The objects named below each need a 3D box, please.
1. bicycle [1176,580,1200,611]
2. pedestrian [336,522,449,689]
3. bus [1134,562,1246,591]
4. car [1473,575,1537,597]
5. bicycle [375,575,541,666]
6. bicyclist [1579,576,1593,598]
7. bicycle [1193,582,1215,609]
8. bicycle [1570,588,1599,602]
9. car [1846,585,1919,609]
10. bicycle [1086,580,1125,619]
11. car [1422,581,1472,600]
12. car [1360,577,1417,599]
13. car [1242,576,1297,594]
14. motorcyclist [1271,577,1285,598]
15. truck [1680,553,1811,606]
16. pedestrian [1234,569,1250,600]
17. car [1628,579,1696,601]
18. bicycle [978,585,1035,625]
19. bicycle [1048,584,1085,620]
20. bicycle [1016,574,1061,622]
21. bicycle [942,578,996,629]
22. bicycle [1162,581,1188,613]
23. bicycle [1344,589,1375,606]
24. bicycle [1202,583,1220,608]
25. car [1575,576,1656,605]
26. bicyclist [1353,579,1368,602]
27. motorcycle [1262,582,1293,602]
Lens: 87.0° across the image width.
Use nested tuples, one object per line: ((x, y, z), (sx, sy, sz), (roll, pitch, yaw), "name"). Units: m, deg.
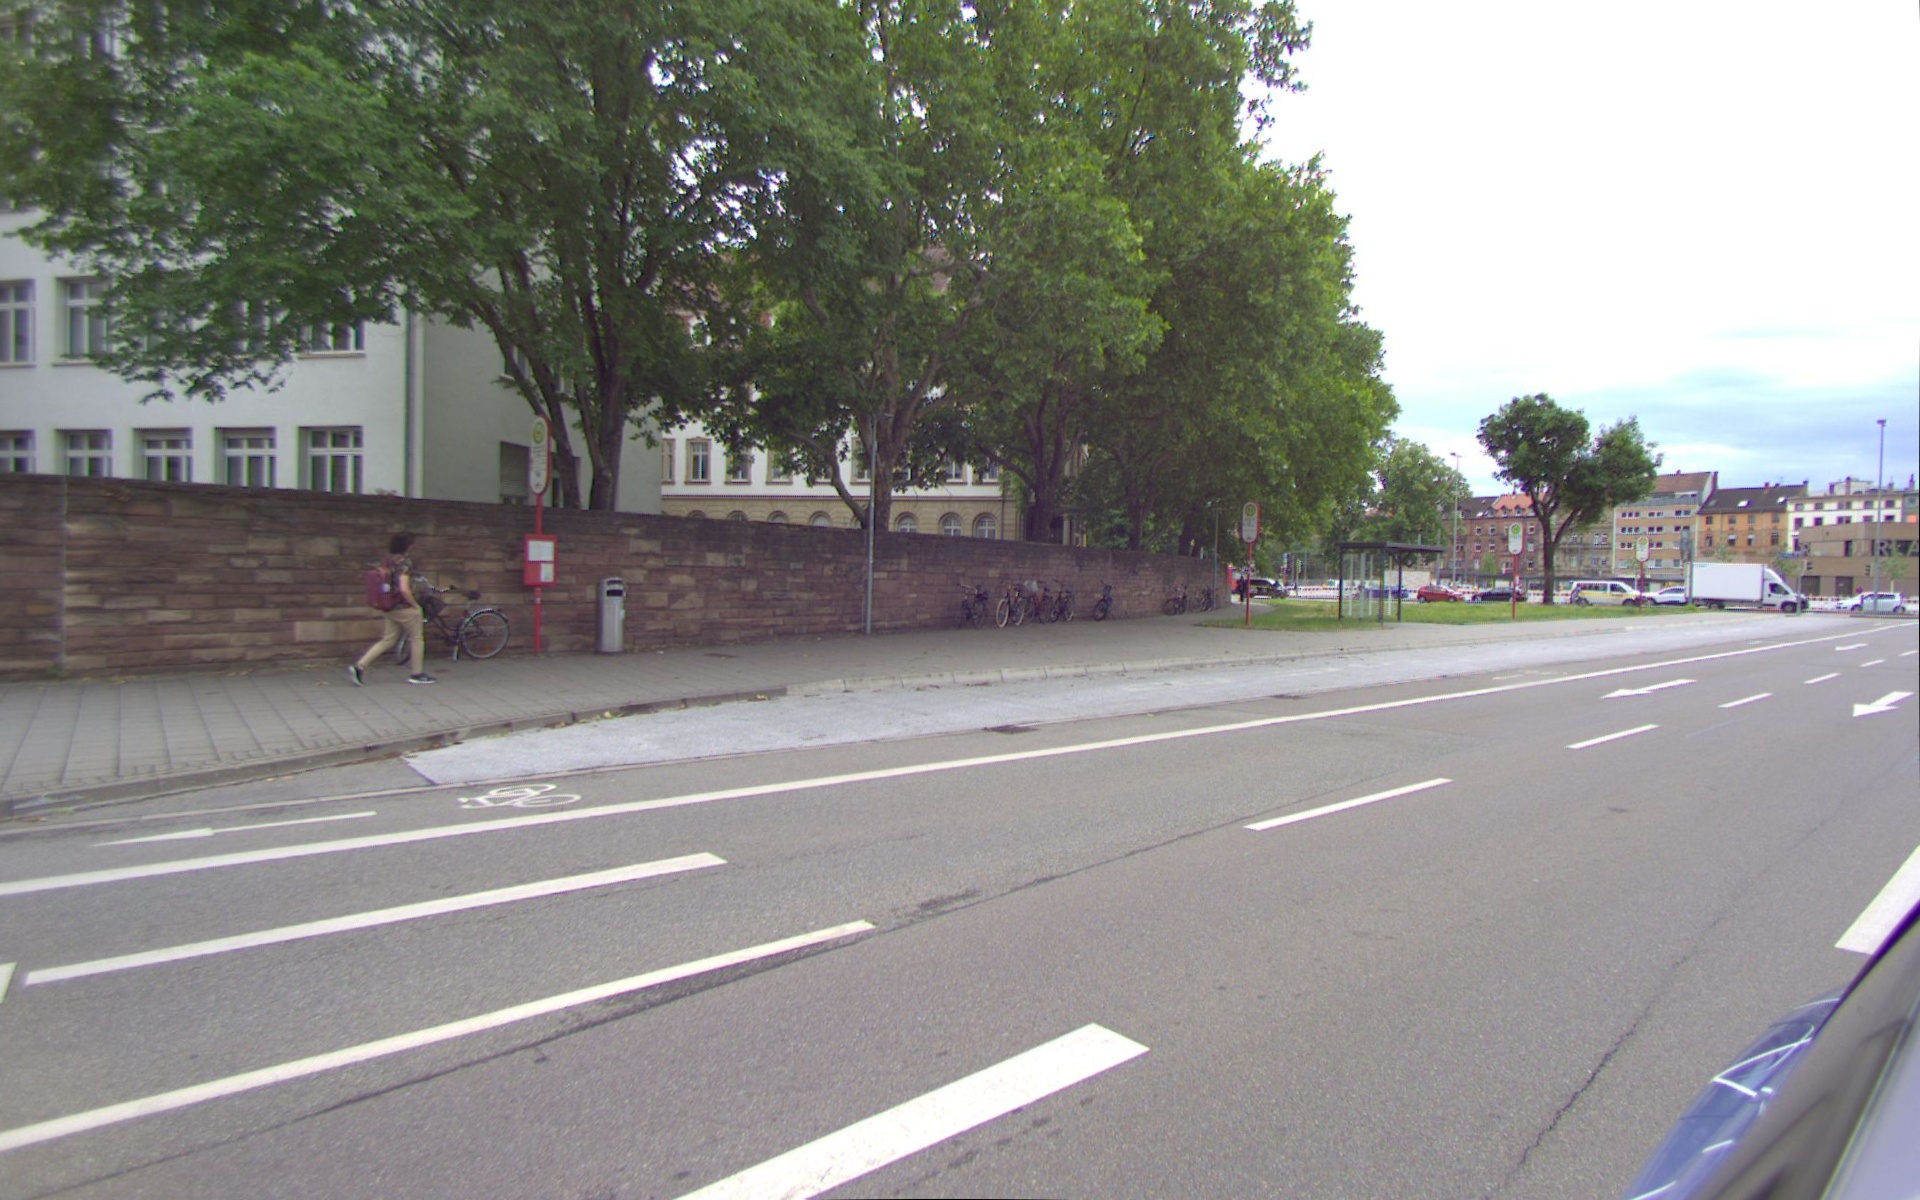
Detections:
((8.958, -0.179, 39.663), (0.589, 1.143, 1.700), (3, 2, 23), "bicycle")
((-6.585, 0.042, 11.744), (1.014, 1.844, 0.632), (1, 2, -41), "pedestrian")
((24.403, -2.525, 108.056), (2.889, 2.944, 12.067), (0, 1, -44), "bus")
((45.284, -1.190, 84.129), (1.659, 1.657, 4.285), (1, 3, -38), "car")
((-6.968, 0.240, 14.132), (0.845, 1.141, 1.900), (4, 3, 34), "bicycle")
((45.681, -0.959, 73.876), (0.737, 1.526, 0.757), (4, 2, 39), "bicyclist")
((10.318, -0.211, 42.777), (0.589, 1.072, 1.700), (3, 2, 23), "bicycle")
((45.620, -0.335, 73.914), (1.687, 0.926, 0.757), (4, 3, 39), "bicycle")
((62.940, -0.208, 69.015), (3.389, 1.407, 1.510), (3, 2, 20), "car")
((4.400, -0.042, 30.548), (0.593, 1.118, 1.638), (3, 2, 29), "bicycle")
((40.247, -0.791, 83.706), (3.422, 1.399, 1.266), (2, -6, 44), "car")
((38.906, -1.072, 91.985), (4.410, 1.767, 1.740), (4, 3, 39), "car")
((28.613, -1.430, 93.696), (4.504, 1.430, 1.874), (4, 3, 36), "car")
((28.723, -1.109, 91.494), (0.913, 1.851, 0.917), (4, 2, 37), "motorcyclist")
((53.606, -1.425, 69.224), (6.835, 3.453, 2.520), (1, 3, 45), "truck")
((16.570, -0.919, 59.408), (0.745, 1.756, 0.821), (3, 2, 10), "pedestrian")
((53.281, -0.778, 76.802), (4.019, 1.493, 1.793), (4, 3, 42), "car")
((1.198, 0.107, 25.750), (0.650, 0.963, 1.751), (3, 2, 31), "bicycle")
((3.043, 0.043, 28.837), (0.414, 0.954, 1.508), (3, 2, 31), "bicycle")
((2.121, -0.075, 27.303), (0.497, 1.236, 1.609), (3, 2, 31), "bicycle")
((0.238, 0.055, 24.106), (0.712, 1.113, 1.781), (3, 2, 20), "bicycle")
((8.123, -0.138, 38.152), (0.589, 1.150, 1.700), (3, 2, 23), "bicycle")
((34.129, -0.228, 86.483), (2.384, 1.340, 0.753), (4, 3, 44), "bicycle")
((11.005, -0.202, 44.347), (0.544, 1.004, 1.626), (3, 2, 20), "bicycle")
((48.384, -0.729, 74.772), (1.890, 1.942, 4.704), (-4, 4, -44), "car")
((34.205, -0.831, 86.421), (0.893, 1.883, 0.753), (4, 3, 43), "bicyclist")
((28.718, -0.739, 91.517), (2.501, 1.621, 0.917), (4, 3, 37), "motorcycle")
